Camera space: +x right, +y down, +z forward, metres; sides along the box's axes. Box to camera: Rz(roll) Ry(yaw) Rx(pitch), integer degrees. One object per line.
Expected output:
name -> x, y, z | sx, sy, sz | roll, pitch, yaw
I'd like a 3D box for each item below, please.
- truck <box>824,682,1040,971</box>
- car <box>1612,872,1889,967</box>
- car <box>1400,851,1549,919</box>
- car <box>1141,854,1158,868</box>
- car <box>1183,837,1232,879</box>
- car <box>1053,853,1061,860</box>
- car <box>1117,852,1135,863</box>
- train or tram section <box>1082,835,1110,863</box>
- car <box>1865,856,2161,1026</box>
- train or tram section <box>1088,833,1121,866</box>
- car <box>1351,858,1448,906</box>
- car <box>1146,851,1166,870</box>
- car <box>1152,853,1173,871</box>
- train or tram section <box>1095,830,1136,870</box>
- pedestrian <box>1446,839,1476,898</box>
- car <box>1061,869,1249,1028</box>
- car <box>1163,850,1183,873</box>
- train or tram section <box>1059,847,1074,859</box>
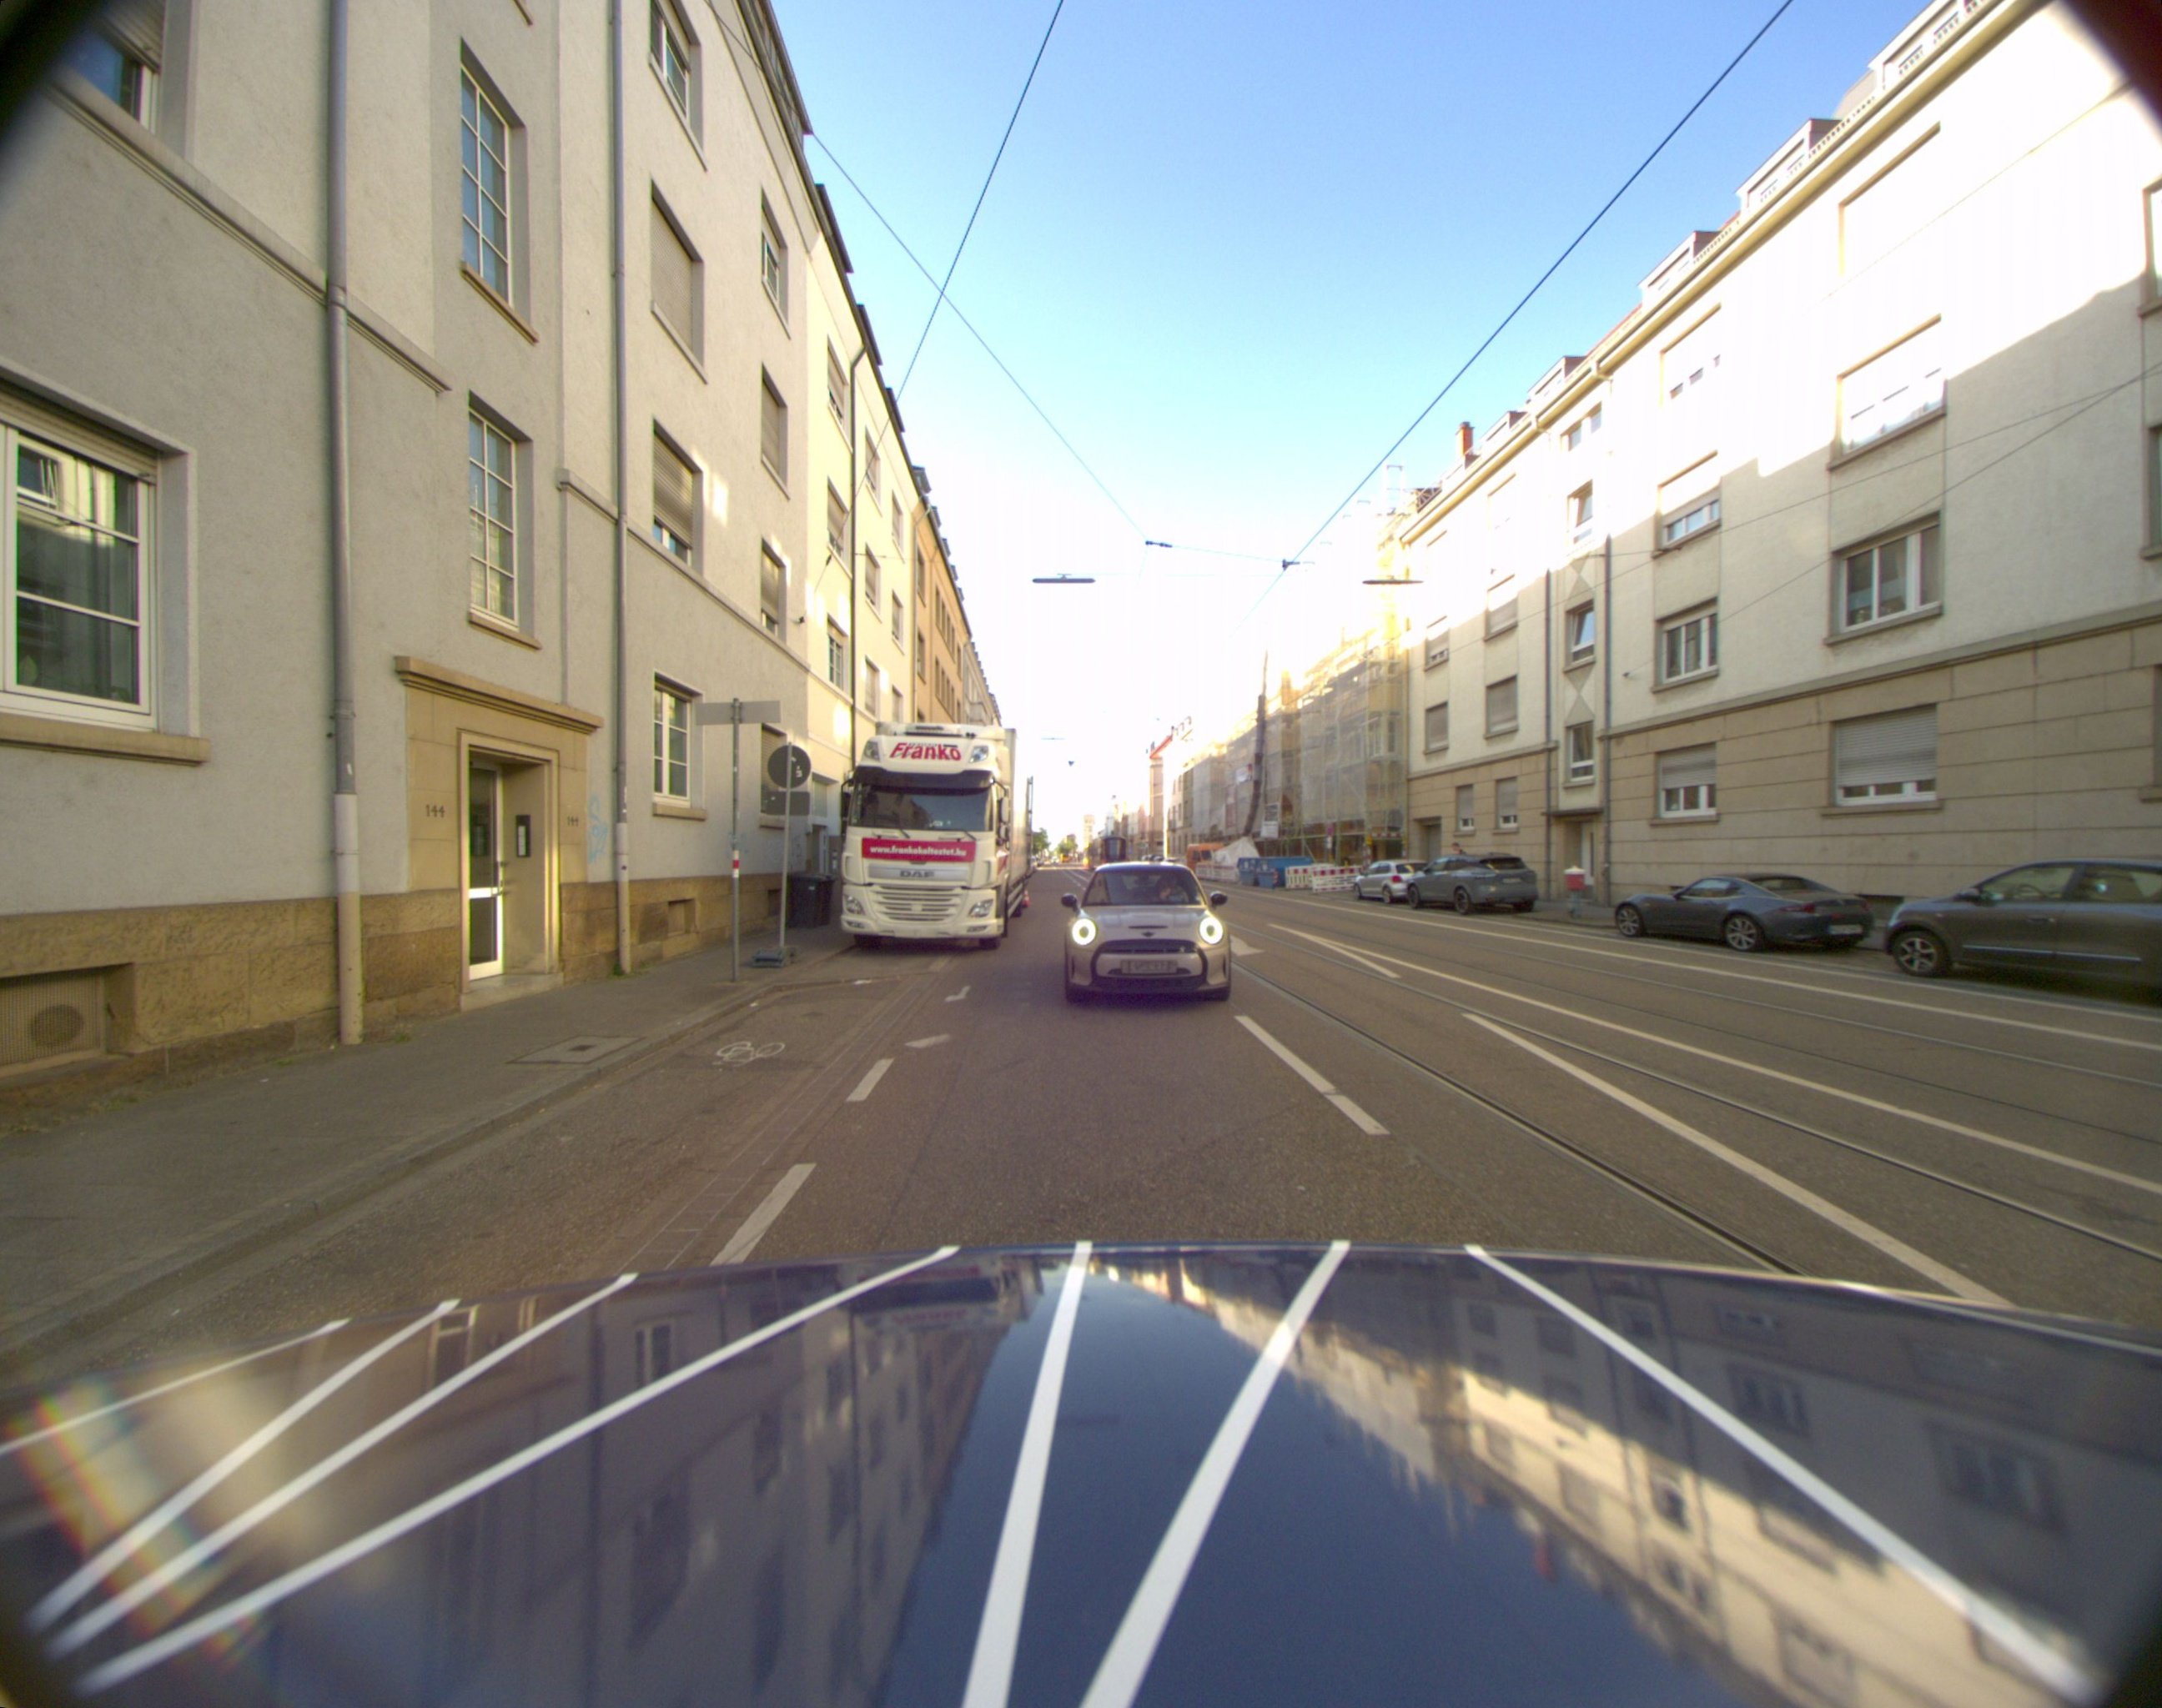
truck -> -2.495, -0.500, 17.026 | 2.700, 4.214, 11.773 | 0, 1, -1
car -> 11.124, 1.004, 12.979 | 1.476, 1.212, 3.522 | -3, 1, -4
car -> 10.827, 0.766, 21.284 | 1.752, 1.600, 4.157 | -3, 1, -4
car -> 7.980, 0.816, 88.279 | 1.532, 1.518, 3.599 | -2, 1, -1
car -> 8.807, 0.250, 53.372 | 2.215, 2.681, 5.871 | -2, 1, -2
car -> -6.654, 0.710, 212.129 | 1.999, 1.871, 4.269 | -2, 1, -4
car -> 7.063, 0.504, 119.557 | 2.231, 1.518, 4.959 | -2, 1, -1
train or tram section -> 1.942, -0.672, 102.188 | 2.867, 3.542, 13.330 | 0, 1, -3
car -> 11.361, 0.864, 8.363 | 1.644, 1.549, 3.594 | -3, 1, -2
train or tram section -> 2.592, -0.545, 88.859 | 2.867, 3.542, 13.330 | 0, 1, -3
car -> 10.616, 0.889, 25.569 | 1.565, 1.372, 3.506 | -3, 1, -4
car -> 8.190, 0.649, 83.422 | 1.570, 1.945, 4.183 | -2, 1, -1
car -> 8.228, 0.769, 77.025 | 1.570, 1.674, 3.935 | -2, 1, -1
train or tram section -> 3.229, -0.421, 75.694 | 2.867, 3.542, 13.038 | 0, 1, -3
pedestrian -> 12.426, 0.468, 24.838 | 0.519, 1.861, 0.762 | -2, 1, -2
car -> 0.679, 0.915, 8.955 | 1.727, 1.416, 3.817 | 0, -1, 0
car -> 8.553, 0.674, 71.059 | 1.658, 1.911, 3.766 | -2, 1, 5
train or tram section -> -5.005, -0.337, 258.696 | 3.881, 3.616, 14.401 | -2, 1, -7
